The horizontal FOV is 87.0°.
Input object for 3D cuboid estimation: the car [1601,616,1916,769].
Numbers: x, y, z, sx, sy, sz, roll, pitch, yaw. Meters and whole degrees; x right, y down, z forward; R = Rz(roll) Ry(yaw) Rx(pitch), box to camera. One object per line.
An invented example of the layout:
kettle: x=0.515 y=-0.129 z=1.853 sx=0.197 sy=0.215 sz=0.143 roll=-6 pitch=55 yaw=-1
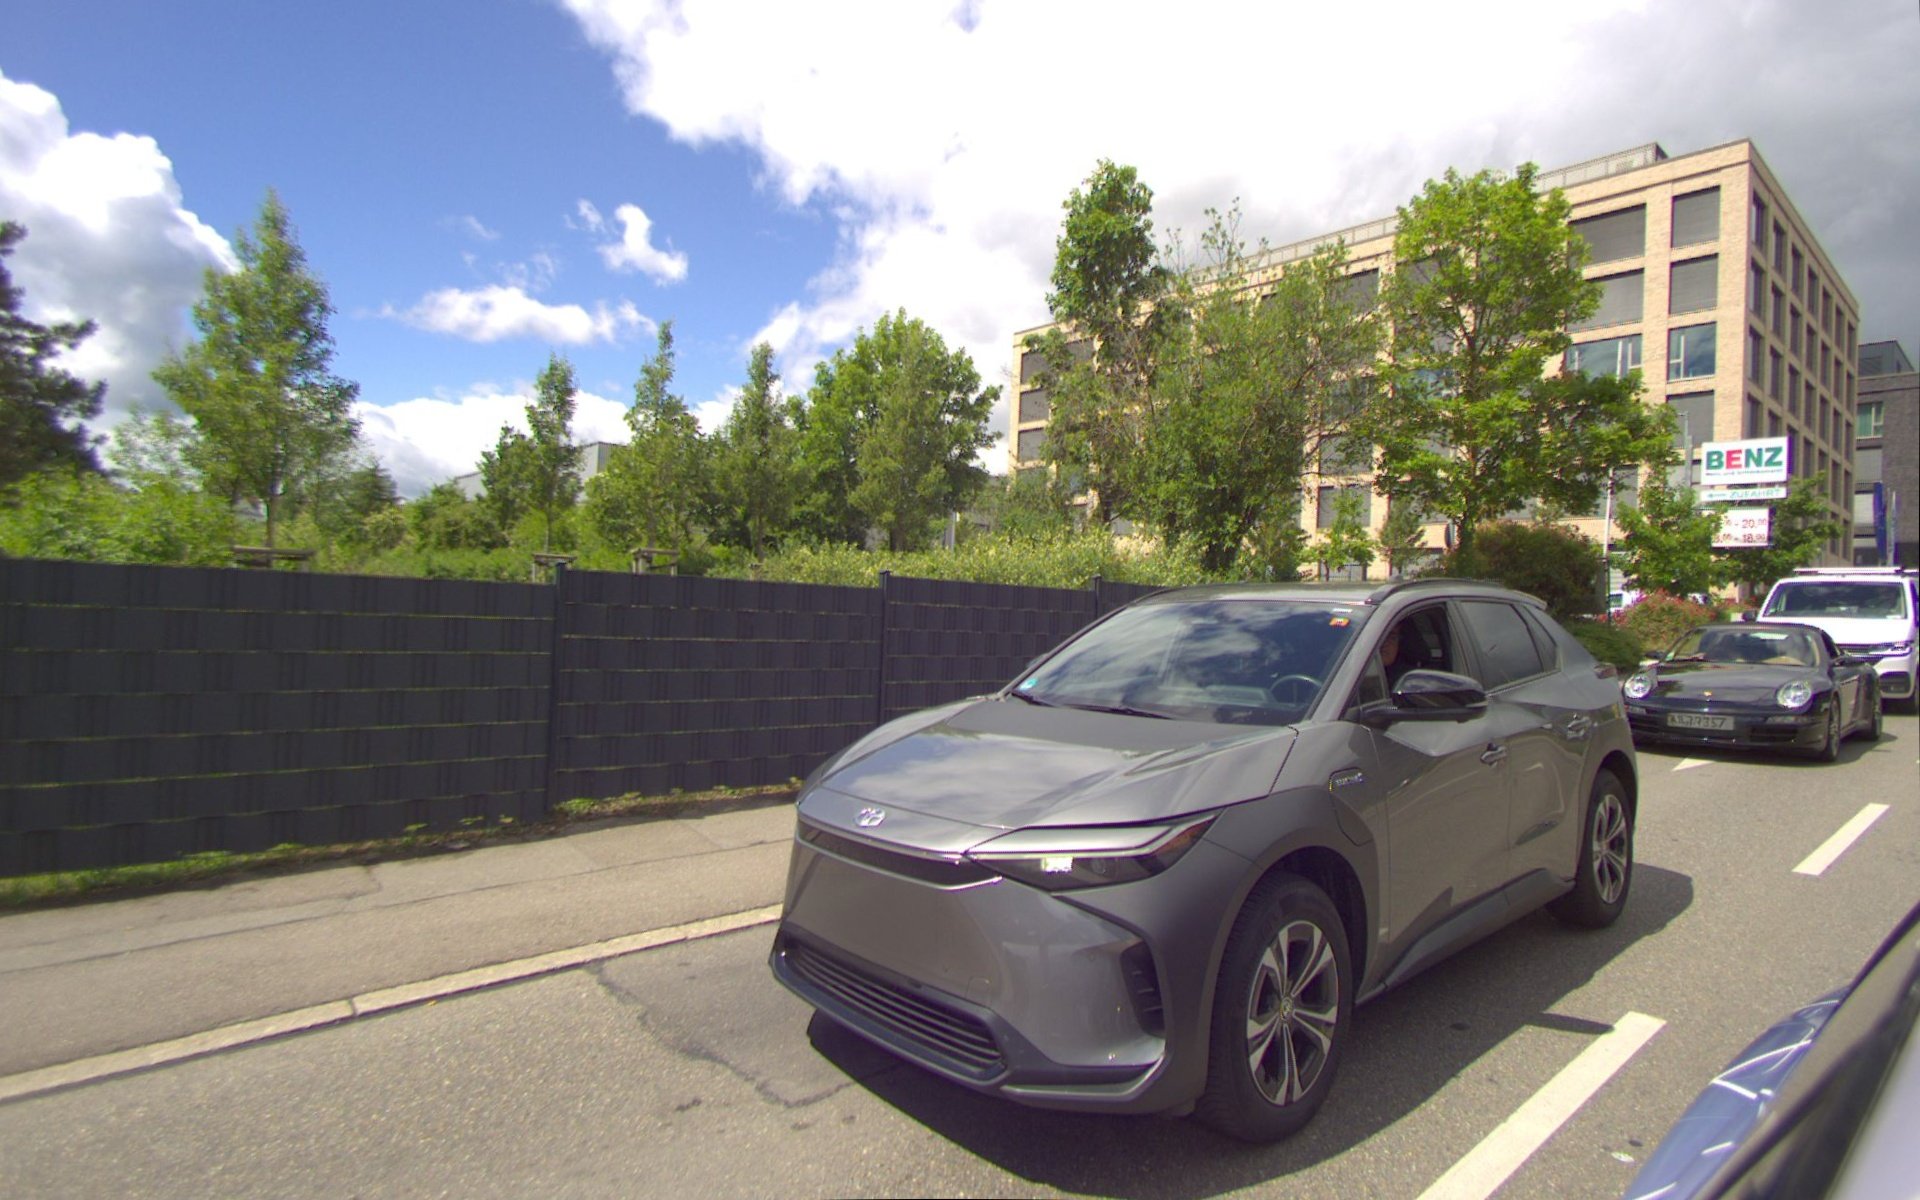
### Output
car: x=8.686 y=0.830 z=10.867 sx=4.487 sy=1.290 sz=1.776 roll=0 pitch=-1 yaw=-40

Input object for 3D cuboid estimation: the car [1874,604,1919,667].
car: x=21.928 y=0.776 z=22.433 sx=4.485 sy=1.290 sz=1.777 roll=0 pitch=2 yaw=-39

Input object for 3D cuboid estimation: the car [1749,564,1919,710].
car: x=13.540 y=0.493 z=15.088 sx=4.563 sy=1.874 sz=1.962 roll=0 pitch=-1 yaw=-41

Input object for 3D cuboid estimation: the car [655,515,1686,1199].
car: x=1.290 y=0.659 z=4.318 sx=4.601 sy=1.634 sz=1.922 roll=0 pitch=-1 yaw=-41

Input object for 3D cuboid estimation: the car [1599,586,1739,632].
car: x=27.440 y=0.317 z=39.256 sx=1.707 sy=1.596 sz=4.211 roll=1 pitch=1 yaw=-44

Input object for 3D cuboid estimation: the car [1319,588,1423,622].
car: x=19.371 y=0.198 z=47.830 sx=1.705 sy=1.436 sz=4.215 roll=1 pitch=1 yaw=-41
